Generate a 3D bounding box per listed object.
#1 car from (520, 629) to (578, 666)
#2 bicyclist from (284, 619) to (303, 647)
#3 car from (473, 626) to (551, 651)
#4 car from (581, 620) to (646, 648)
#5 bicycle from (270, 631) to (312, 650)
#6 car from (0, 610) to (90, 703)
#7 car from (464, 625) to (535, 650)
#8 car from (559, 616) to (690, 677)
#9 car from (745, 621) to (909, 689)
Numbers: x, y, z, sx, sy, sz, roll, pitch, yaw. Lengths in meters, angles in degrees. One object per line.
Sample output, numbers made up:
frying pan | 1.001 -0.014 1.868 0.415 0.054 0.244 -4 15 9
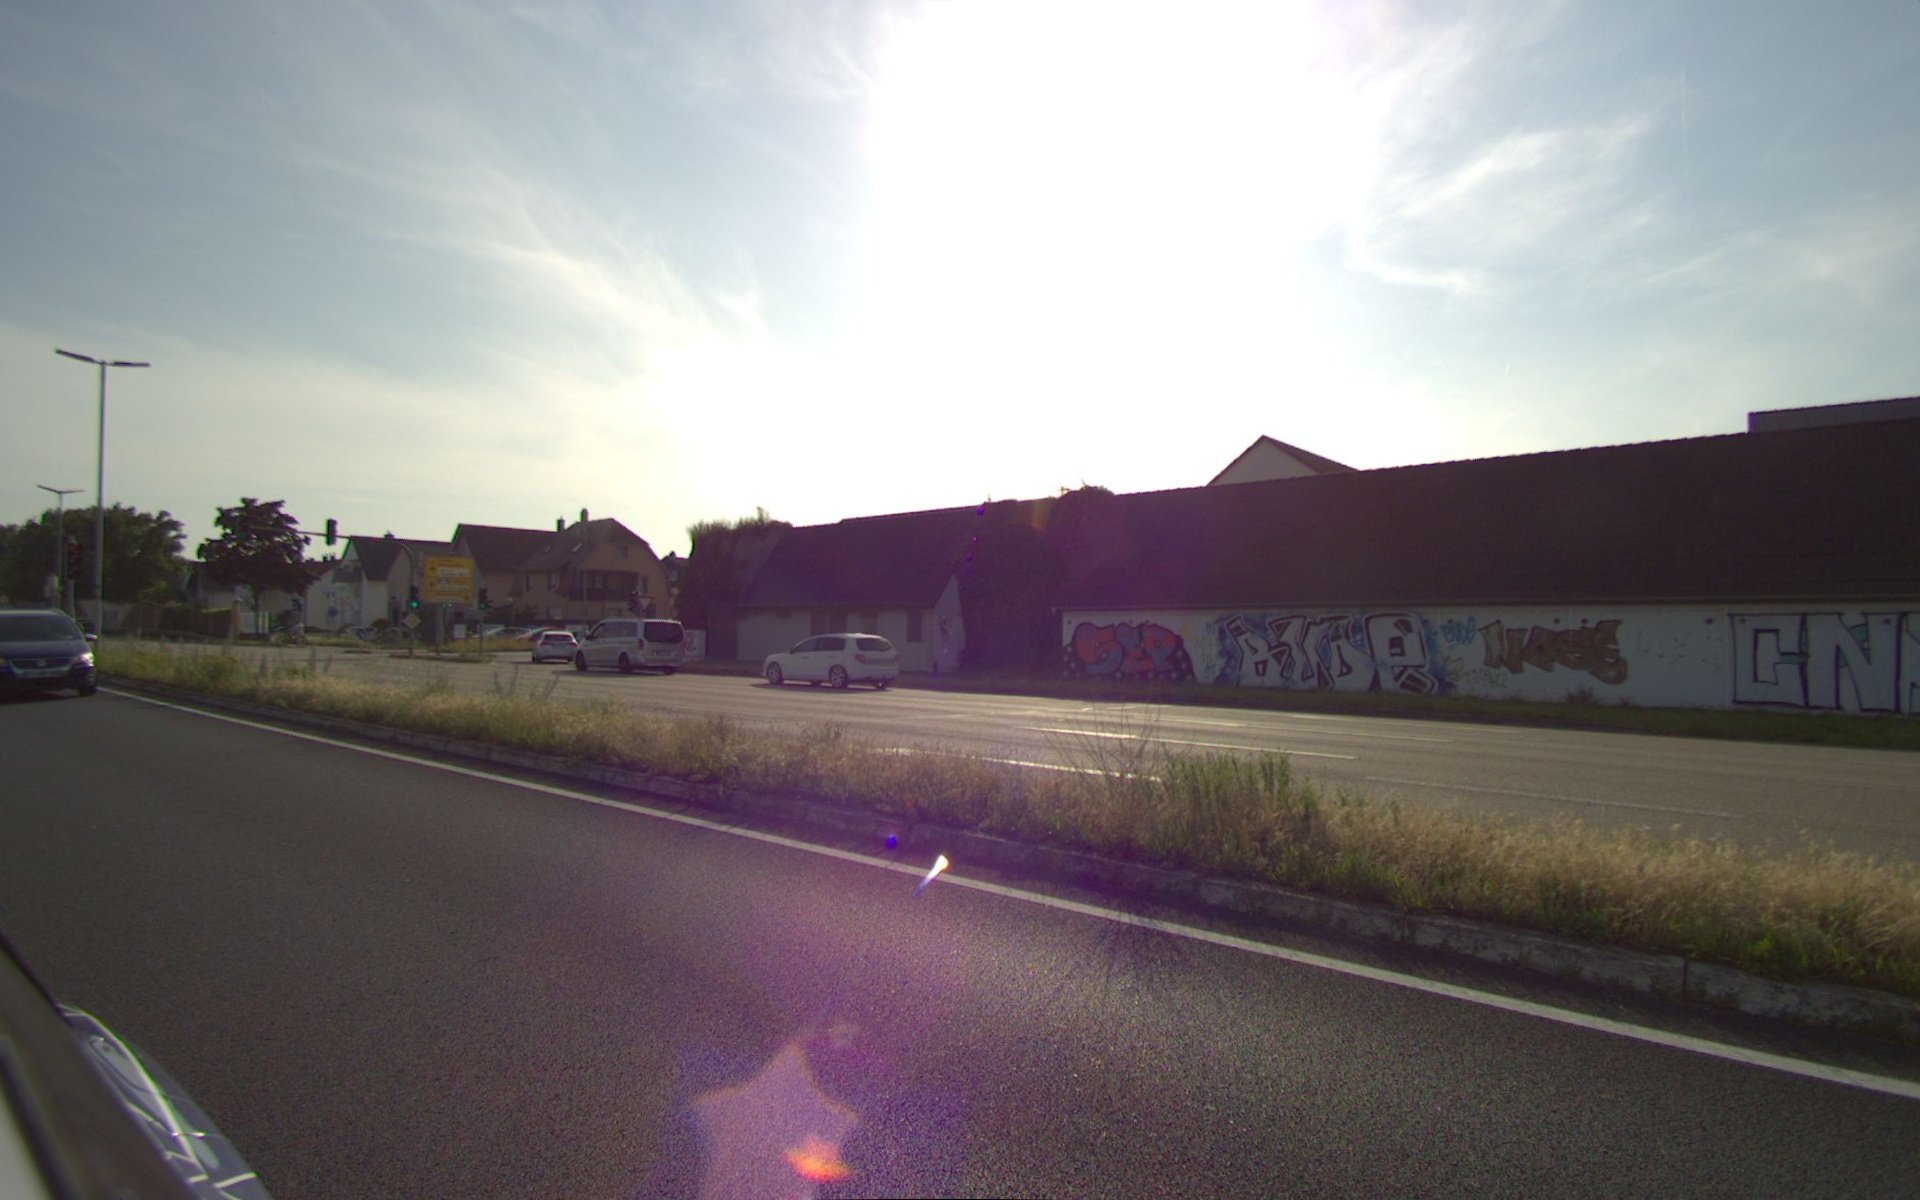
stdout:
car | -18.557 2.113 45.580 1.679 1.509 4.551 5 -4 -30
bicyclist | -43.382 2.159 65.893 0.844 1.800 0.848 5 -3 -41
car | -28.363 2.452 64.203 1.637 1.424 4.255 -1 -4 34
car | -20.808 2.010 60.965 1.931 1.509 4.753 0 0 5
bicycle | -43.492 2.626 65.791 2.129 1.201 0.905 3 -2 -41
car | -18.443 1.008 19.635 4.680 1.633 1.754 0 -1 42
car | -31.250 2.540 68.735 1.757 1.575 3.945 0 -3 41
car | -11.838 1.601 35.488 5.454 1.942 1.886 0 -4 43
car | -3.774 1.498 28.271 4.755 1.720 1.817 0 -4 41
